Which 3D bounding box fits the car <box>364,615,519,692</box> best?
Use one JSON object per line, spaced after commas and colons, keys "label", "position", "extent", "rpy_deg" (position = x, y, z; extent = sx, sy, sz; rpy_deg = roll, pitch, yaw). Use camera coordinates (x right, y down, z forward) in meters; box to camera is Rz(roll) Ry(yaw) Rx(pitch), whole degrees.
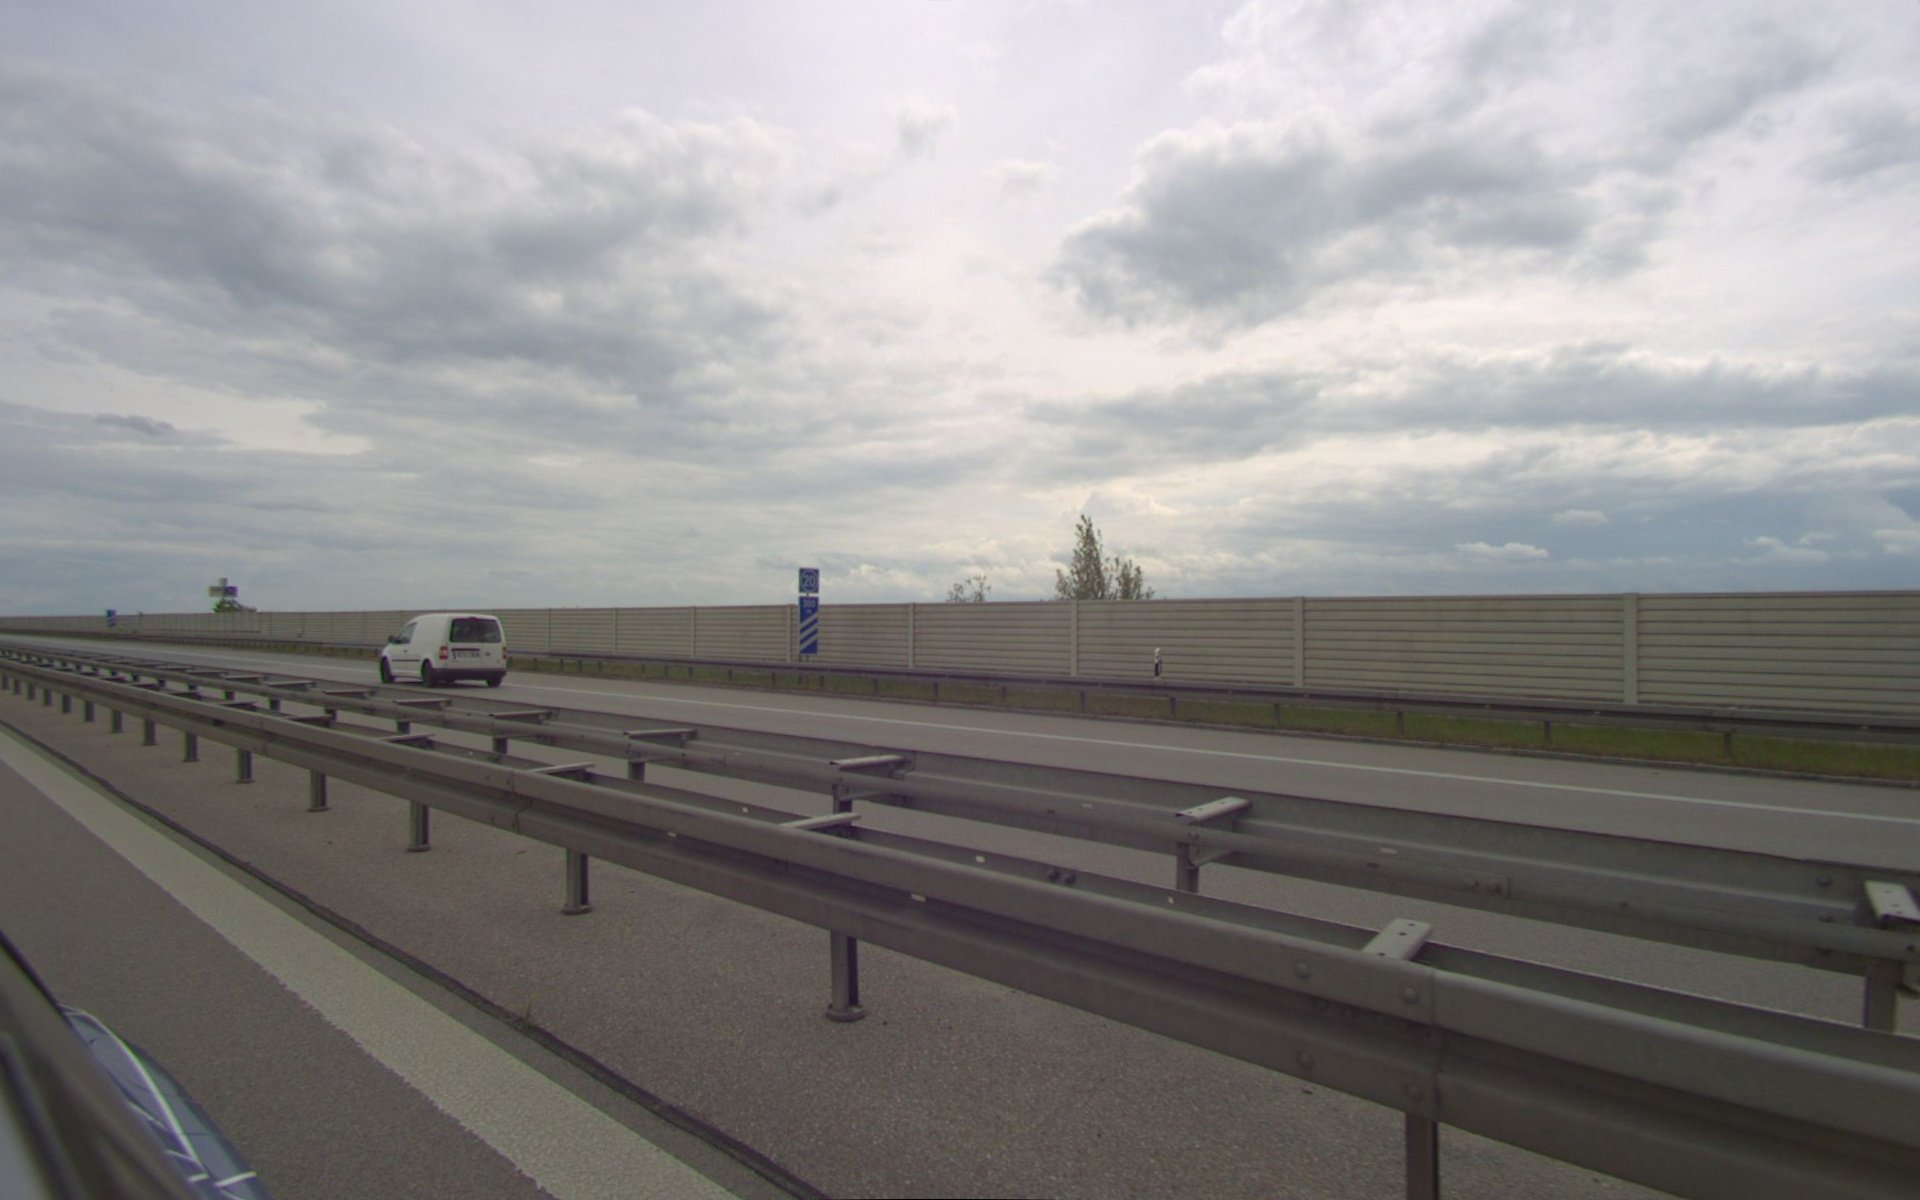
{"label": "car", "position": [-13.147, 1.324, 25.518], "extent": [4.912, 1.755, 1.737], "rpy_deg": [-1, -5, 42]}
